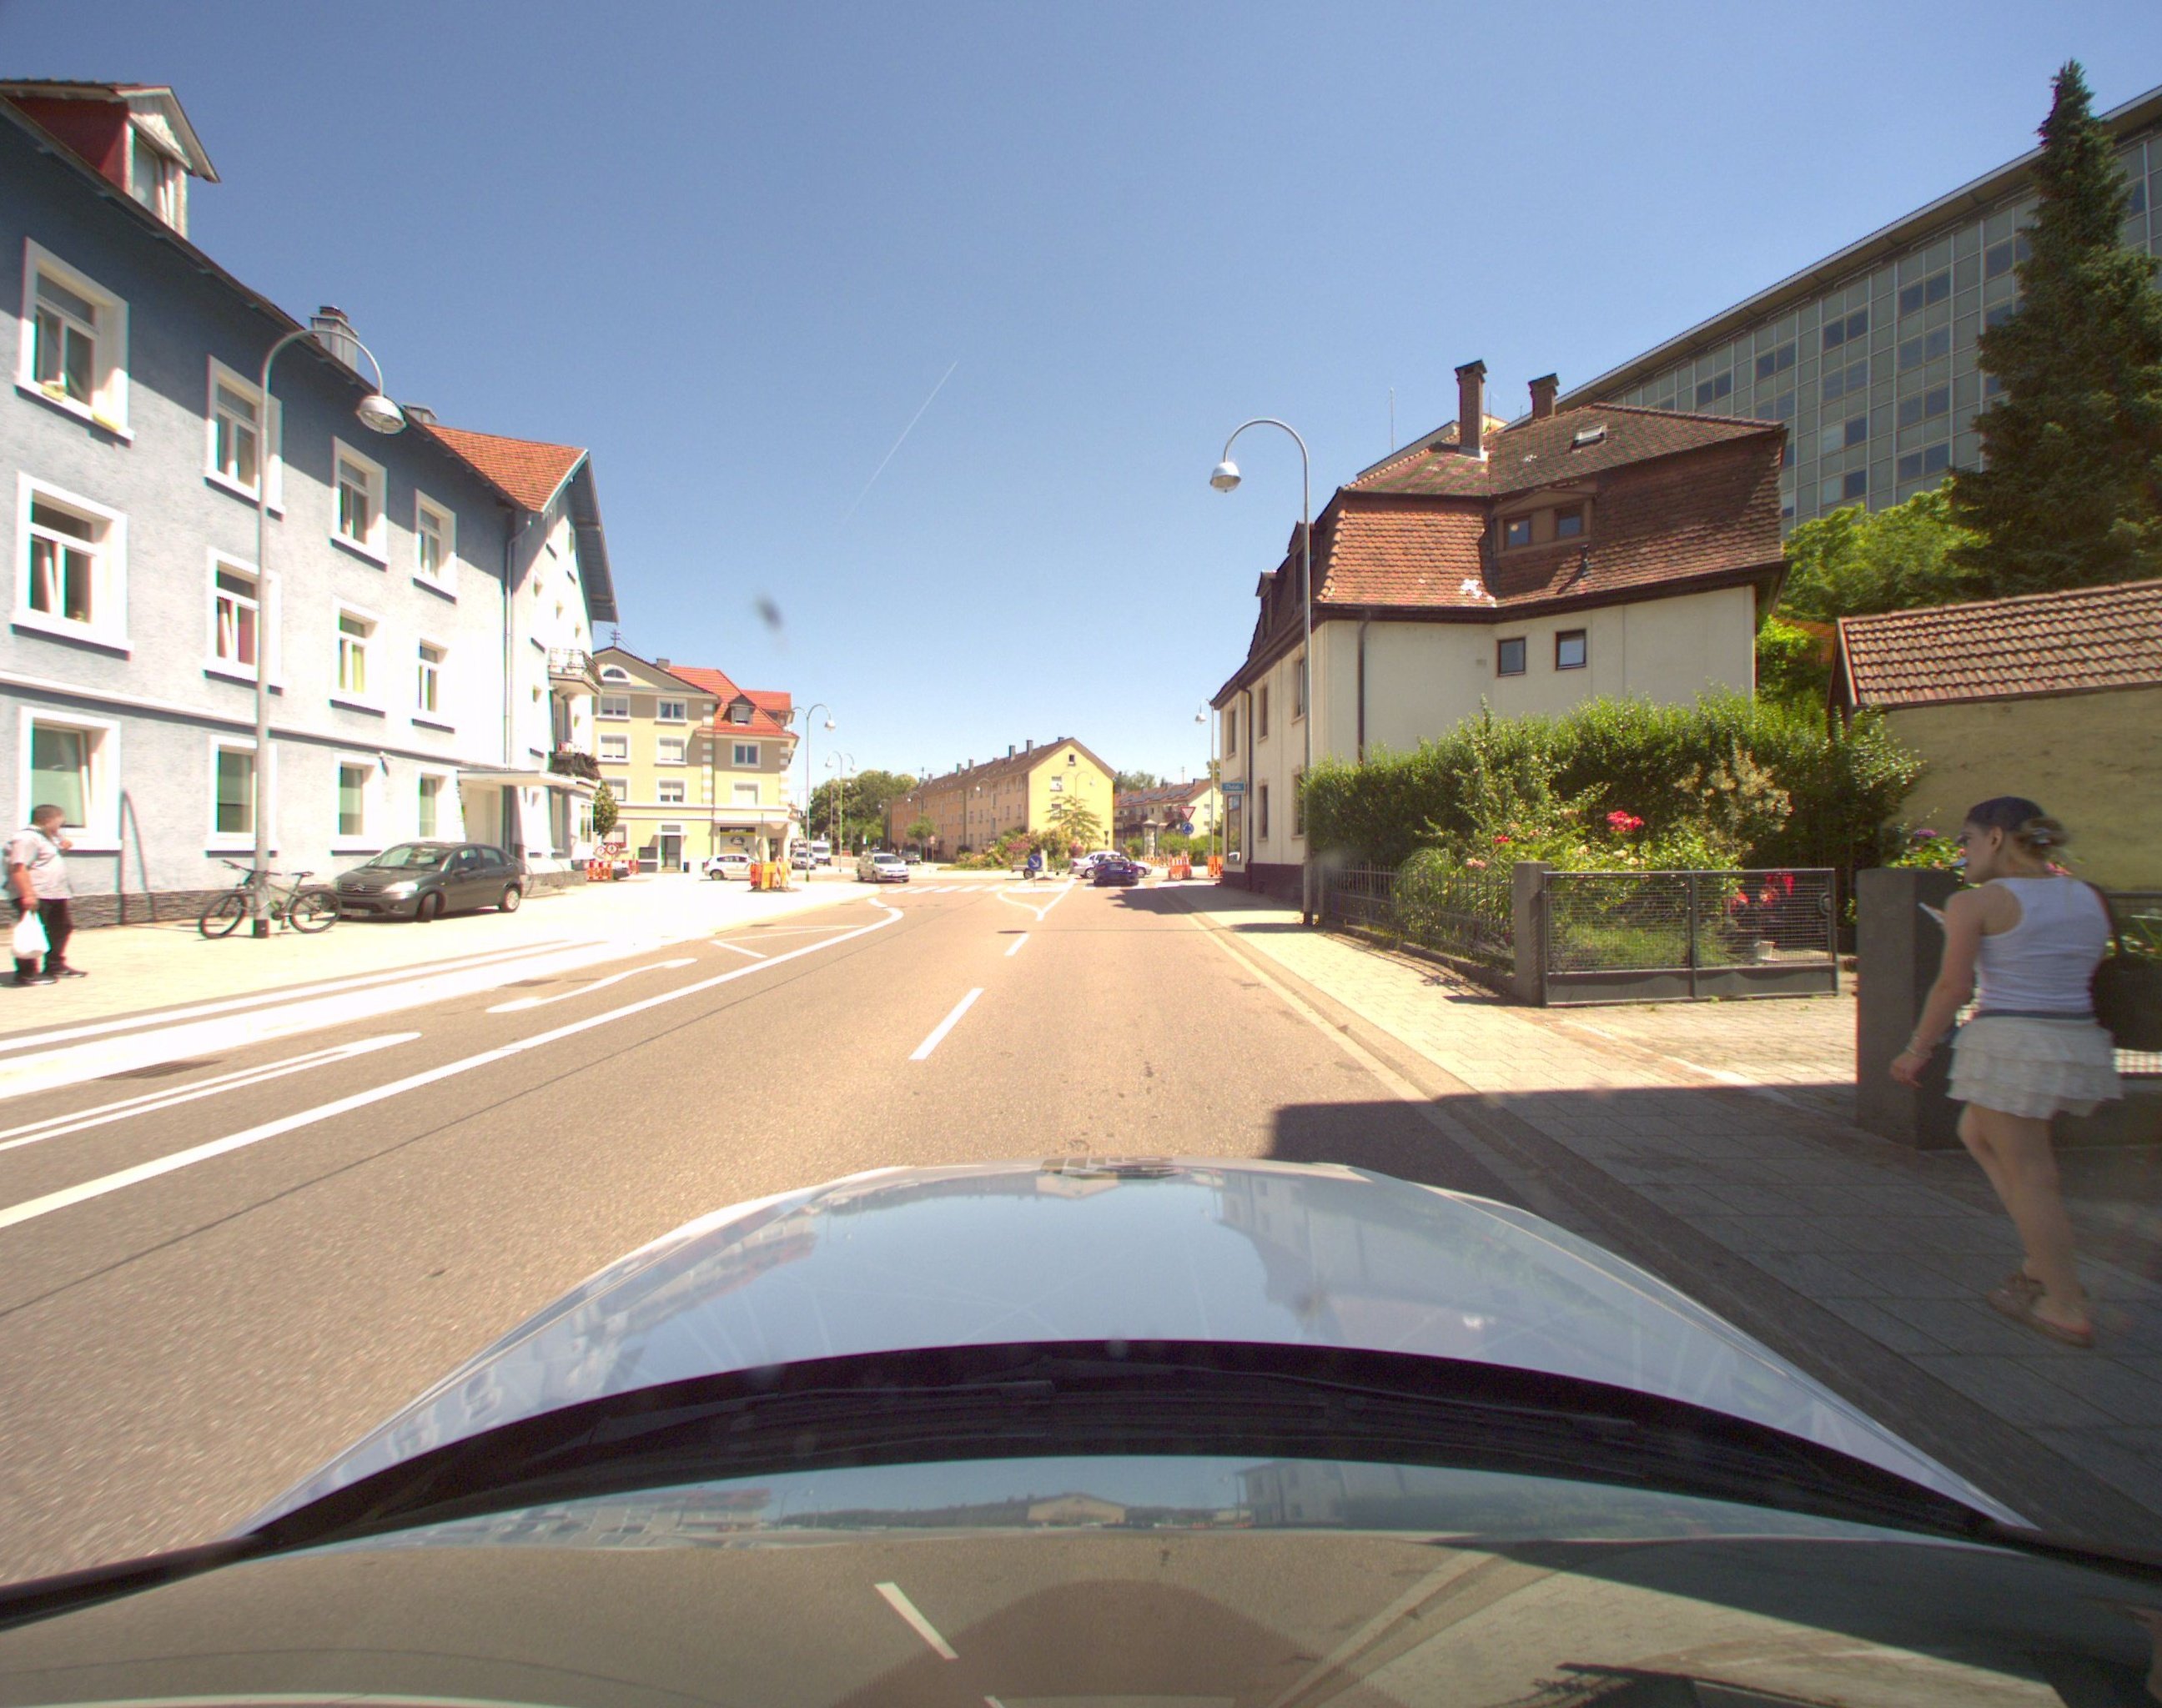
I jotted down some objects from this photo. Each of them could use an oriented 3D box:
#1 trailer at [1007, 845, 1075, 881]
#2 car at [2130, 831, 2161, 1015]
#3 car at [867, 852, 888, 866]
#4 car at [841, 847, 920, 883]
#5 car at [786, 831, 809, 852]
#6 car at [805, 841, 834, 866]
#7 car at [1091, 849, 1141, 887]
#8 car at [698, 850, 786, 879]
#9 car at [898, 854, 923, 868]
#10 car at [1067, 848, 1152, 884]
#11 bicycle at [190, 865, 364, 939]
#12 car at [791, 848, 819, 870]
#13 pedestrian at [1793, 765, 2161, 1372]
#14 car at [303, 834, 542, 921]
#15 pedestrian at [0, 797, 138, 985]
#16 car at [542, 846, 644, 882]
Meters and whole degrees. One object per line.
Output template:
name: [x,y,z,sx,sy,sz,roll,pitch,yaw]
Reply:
trailer: [-2.058,0.453,41.820,3.192,1.717,1.748,2,-1,-15]
car: [10.381,0.550,5.904,3.316,1.486,1.767,0,-1,-1]
car: [-27.588,0.675,110.422,1.822,1.794,3.964,2,-1,-28]
car: [-10.268,0.566,41.605,1.855,1.529,4.338,-8,3,-44]
car: [-35.507,-1.538,101.855,2.154,2.533,4.816,2,-1,-24]
car: [-27.977,-0.038,86.908,2.154,2.533,6.187,2,-1,-24]
car: [1.452,0.636,35.350,1.865,1.530,4.504,0,-2,-1]
car: [-18.414,0.584,44.407,4.117,1.551,1.780,0,0,-11]
car: [-20.112,0.818,95.883,1.822,1.500,3.964,2,-1,-28]
car: [1.456,0.656,42.826,4.120,1.747,1.779,2,-1,-14]
bicycle: [-12.191,0.688,12.446,0.493,0.977,1.976,4,0,6]
car: [-22.162,0.408,65.324,1.783,1.686,4.659,1,0,-22]
pedestrian: [2.957,0.579,2.617,0.622,1.644,0.771,-1,-1,-3]
car: [-12.990,0.465,16.407,1.571,1.534,3.777,0,-2,3]
pedestrian: [-10.730,0.366,8.486,0.755,1.848,0.770,4,-1,-7]
car: [-25.333,0.510,42.433,4.240,1.777,1.771,0,0,-18]
